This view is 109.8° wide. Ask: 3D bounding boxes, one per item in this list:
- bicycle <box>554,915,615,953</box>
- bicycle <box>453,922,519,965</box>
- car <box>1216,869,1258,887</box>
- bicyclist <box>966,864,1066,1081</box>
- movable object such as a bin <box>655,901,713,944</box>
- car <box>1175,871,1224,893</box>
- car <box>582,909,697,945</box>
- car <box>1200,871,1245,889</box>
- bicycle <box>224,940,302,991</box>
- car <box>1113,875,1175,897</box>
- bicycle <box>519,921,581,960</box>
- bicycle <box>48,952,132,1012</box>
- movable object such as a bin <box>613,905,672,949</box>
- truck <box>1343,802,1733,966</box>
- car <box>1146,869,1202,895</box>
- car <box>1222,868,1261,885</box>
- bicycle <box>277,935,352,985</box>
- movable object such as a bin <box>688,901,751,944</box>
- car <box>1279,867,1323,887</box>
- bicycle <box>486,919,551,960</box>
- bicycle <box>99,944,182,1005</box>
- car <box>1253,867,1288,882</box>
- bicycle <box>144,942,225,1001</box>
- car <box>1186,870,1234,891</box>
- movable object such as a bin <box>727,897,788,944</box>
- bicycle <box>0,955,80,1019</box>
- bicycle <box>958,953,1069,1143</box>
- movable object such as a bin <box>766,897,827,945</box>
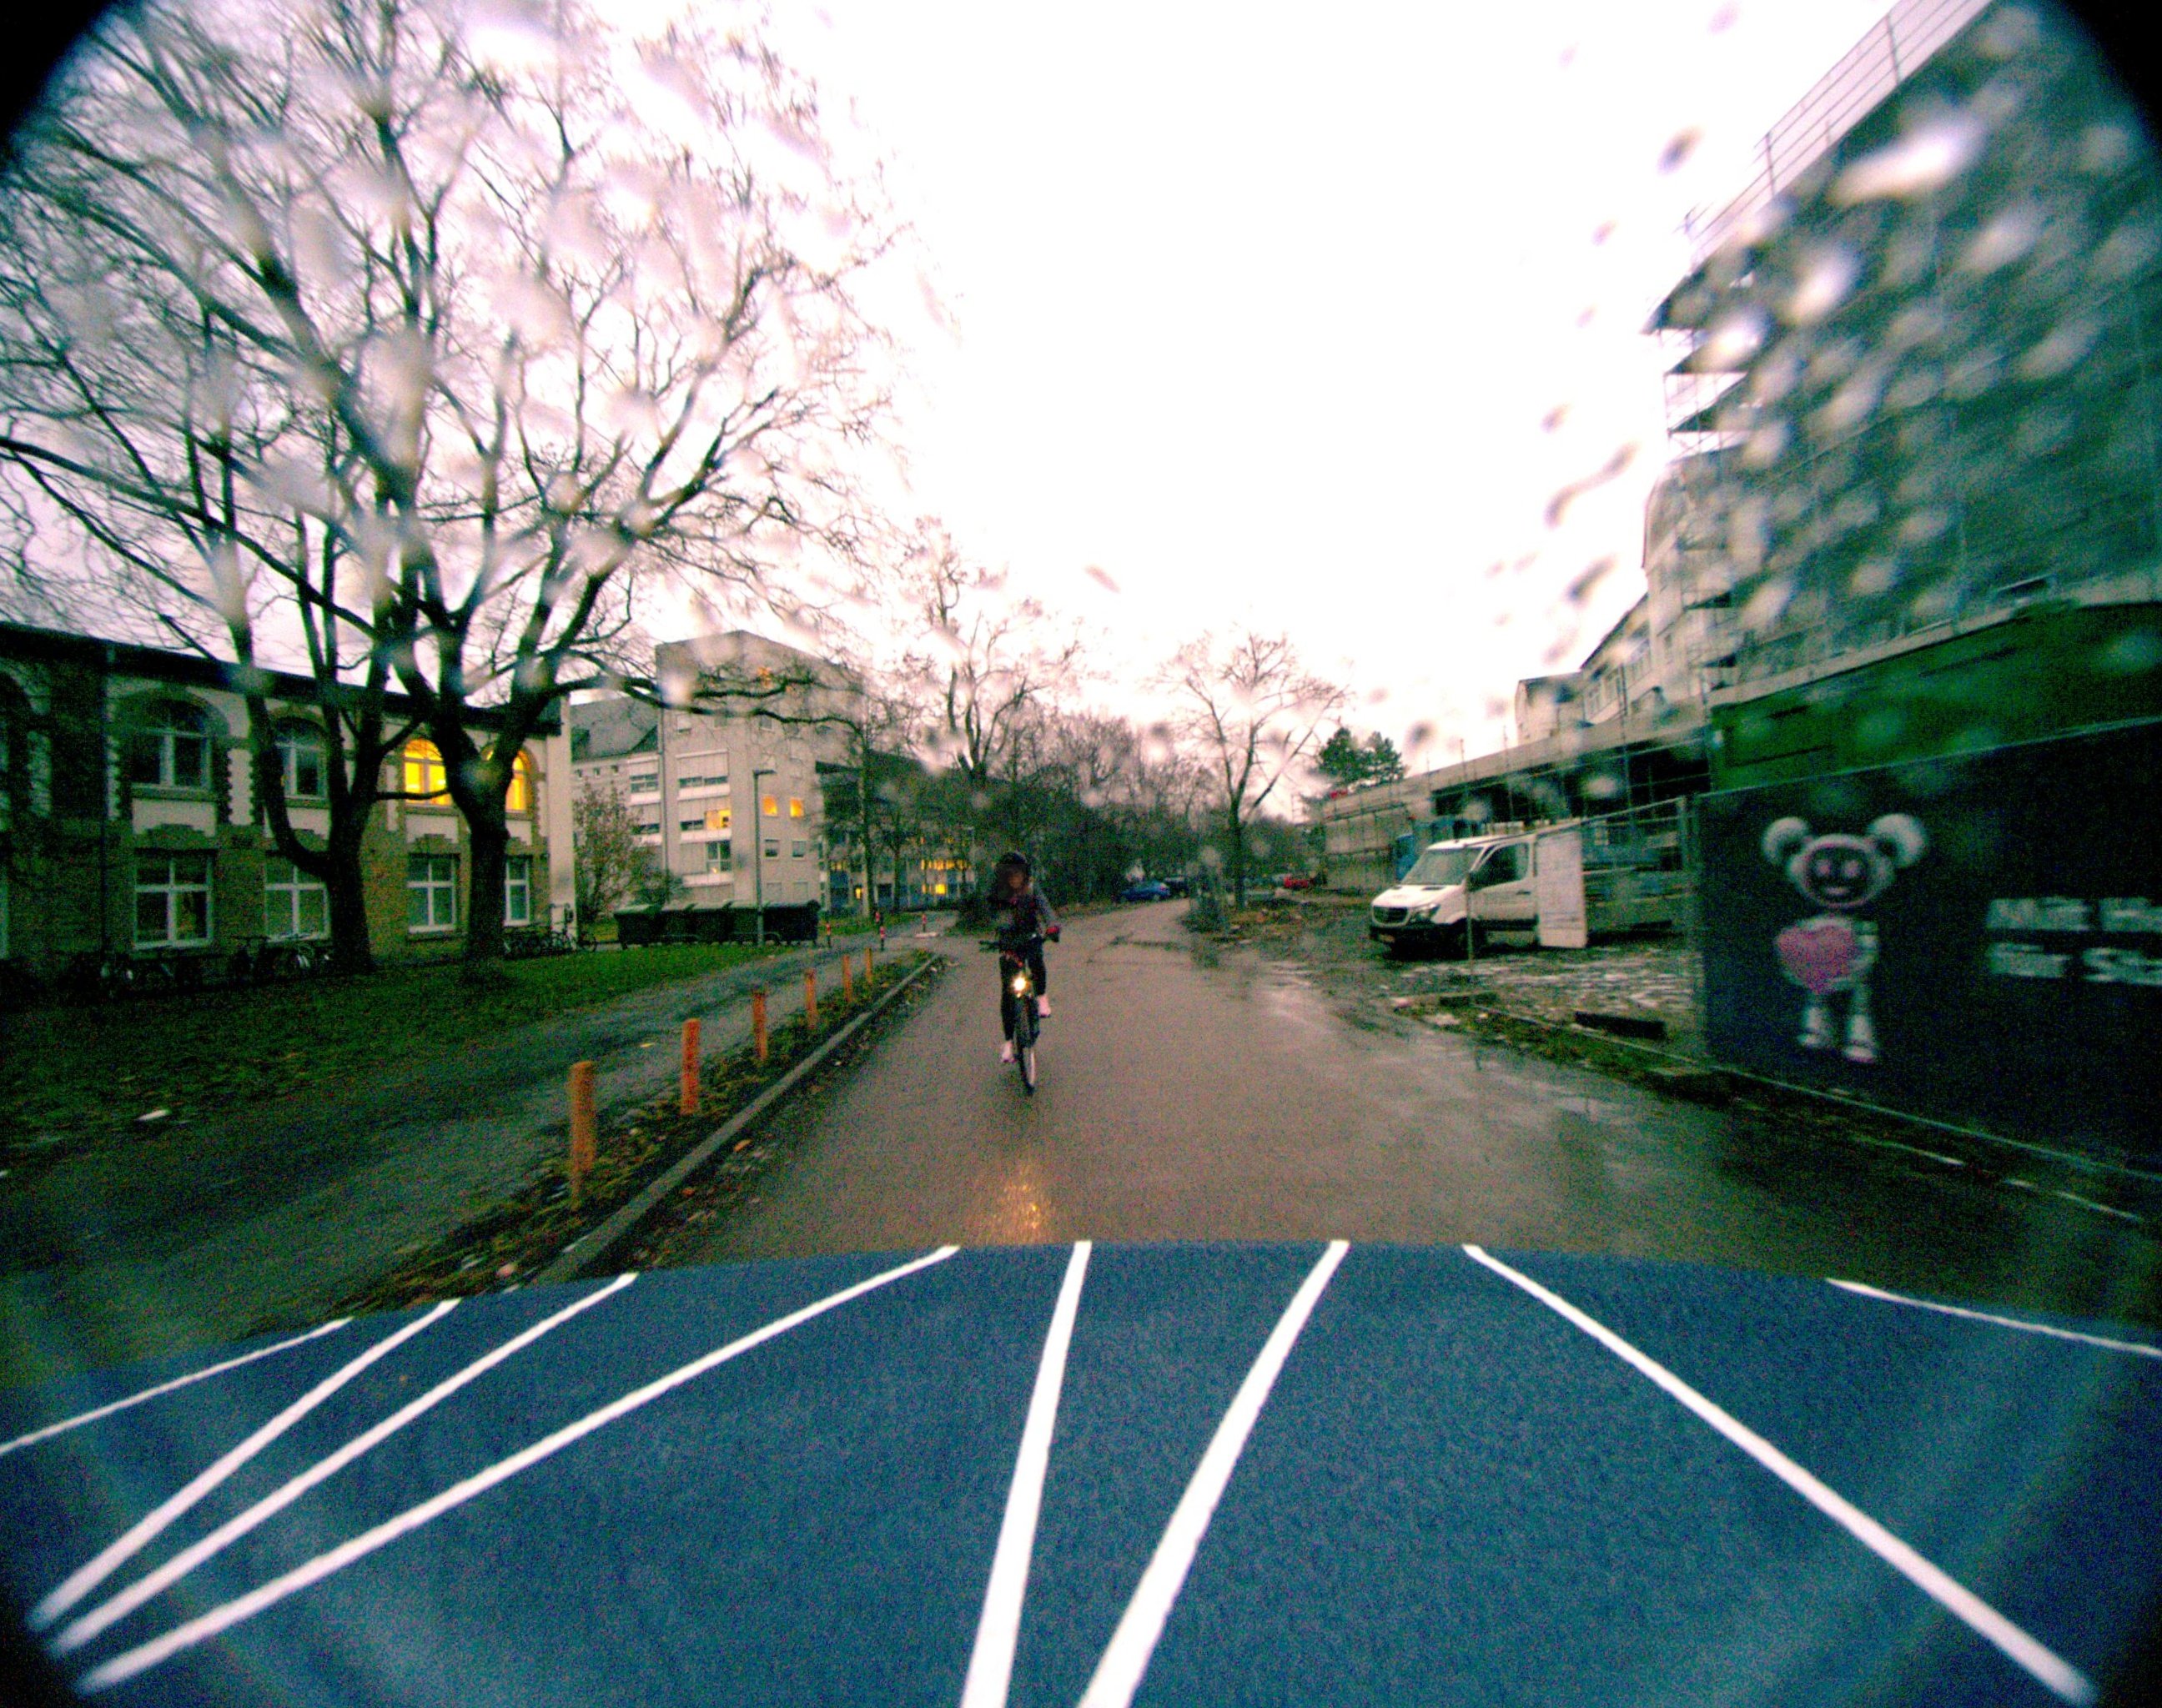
[{"bbox_3d":[-16.037,2.591,24.545,2.136,1.150,0.574,-3,-1,25],"label":"bicycle"},{"bbox_3d":[-17.182,2.584,21.928,2.136,1.150,0.574,-3,-1,25],"label":"bicycle"},{"bbox_3d":[16.550,2.540,80.521,3.991,1.785,1.805,-3,-1,25],"label":"car"},{"bbox_3d":[-0.518,0.944,6.375,0.706,1.679,0.771,-2,-1,0],"label":"bicyclist"},{"bbox_3d":[-12.564,2.170,24.073,1.249,1.272,0.989,-3,-1,18],"label":"movable object such as a bin"},{"bbox_3d":[10.661,2.482,68.287,3.991,1.785,1.805,-3,-1,25],"label":"car"},{"bbox_3d":[-19.842,3.249,34.317,1.995,1.273,4.008,-3,-2,28],"label":"car"},{"bbox_3d":[14.074,2.587,75.570,3.991,1.652,2.004,-3,-1,25],"label":"car"},{"bbox_3d":[-18.977,2.561,17.615,2.136,1.085,0.574,-3,-1,25],"label":"bicycle"},{"bbox_3d":[4.711,2.411,56.552,4.172,1.468,2.004,-3,-4,21],"label":"car"},{"bbox_3d":[-16.594,2.688,23.720,2.136,1.150,0.574,-3,-1,25],"label":"bicycle"},{"bbox_3d":[-19.944,2.553,15.285,2.136,1.011,0.574,-1,0,25],"label":"bicycle"},{"bbox_3d":[-14.003,2.326,24.273,1.261,1.306,0.989,-3,-1,18],"label":"movable object such as a bin"},{"bbox_3d":[9.111,0.518,15.260,7.083,2.572,2.131,-4,-1,-13],"label":"truck"},{"bbox_3d":[7.575,2.288,61.802,3.991,1.979,2.004,-3,-1,25],"label":"car"},{"bbox_3d":[18.625,2.640,88.022,3.991,1.785,1.805,-3,-1,25],"label":"car"},{"bbox_3d":[-18.639,2.556,18.465,2.136,1.104,0.574,-3,-1,25],"label":"bicycle"},{"bbox_3d":[-11.156,2.113,23.478,1.435,1.217,0.989,-3,-1,18],"label":"movable object such as a bin"},{"bbox_3d":[18.194,1.867,62.806,3.302,1.514,1.707,-3,-1,21],"label":"car"},{"bbox_3d":[-16.868,2.560,22.763,2.136,1.150,0.574,-3,-1,25],"label":"bicycle"},{"bbox_3d":[-19.668,2.496,15.882,2.136,1.150,0.574,-3,-1,25],"label":"bicycle"},{"bbox_3d":[24.401,2.641,97.810,3.991,1.785,1.805,-3,-1,25],"label":"car"},{"bbox_3d":[-19.421,2.519,16.452,2.136,1.150,0.574,-3,-1,25],"label":"bicycle"},{"bbox_3d":[12.131,2.499,71.428,3.991,1.785,1.805,-3,-1,25],"label":"car"},{"bbox_3d":[-9.787,2.005,23.007,1.305,1.306,0.989,-3,-1,18],"label":"movable object such as a bin"},{"bbox_3d":[-20.200,2.542,14.683,2.136,1.044,0.574,-1,0,25],"label":"bicycle"},{"bbox_3d":[-0.498,1.509,6.386,0.730,1.126,1.894,-2,-1,0],"label":"bicycle"},{"bbox_3d":[-8.432,1.977,22.568,1.322,1.309,1.064,-1,-1,5],"label":"movable object such as a bin"}]
